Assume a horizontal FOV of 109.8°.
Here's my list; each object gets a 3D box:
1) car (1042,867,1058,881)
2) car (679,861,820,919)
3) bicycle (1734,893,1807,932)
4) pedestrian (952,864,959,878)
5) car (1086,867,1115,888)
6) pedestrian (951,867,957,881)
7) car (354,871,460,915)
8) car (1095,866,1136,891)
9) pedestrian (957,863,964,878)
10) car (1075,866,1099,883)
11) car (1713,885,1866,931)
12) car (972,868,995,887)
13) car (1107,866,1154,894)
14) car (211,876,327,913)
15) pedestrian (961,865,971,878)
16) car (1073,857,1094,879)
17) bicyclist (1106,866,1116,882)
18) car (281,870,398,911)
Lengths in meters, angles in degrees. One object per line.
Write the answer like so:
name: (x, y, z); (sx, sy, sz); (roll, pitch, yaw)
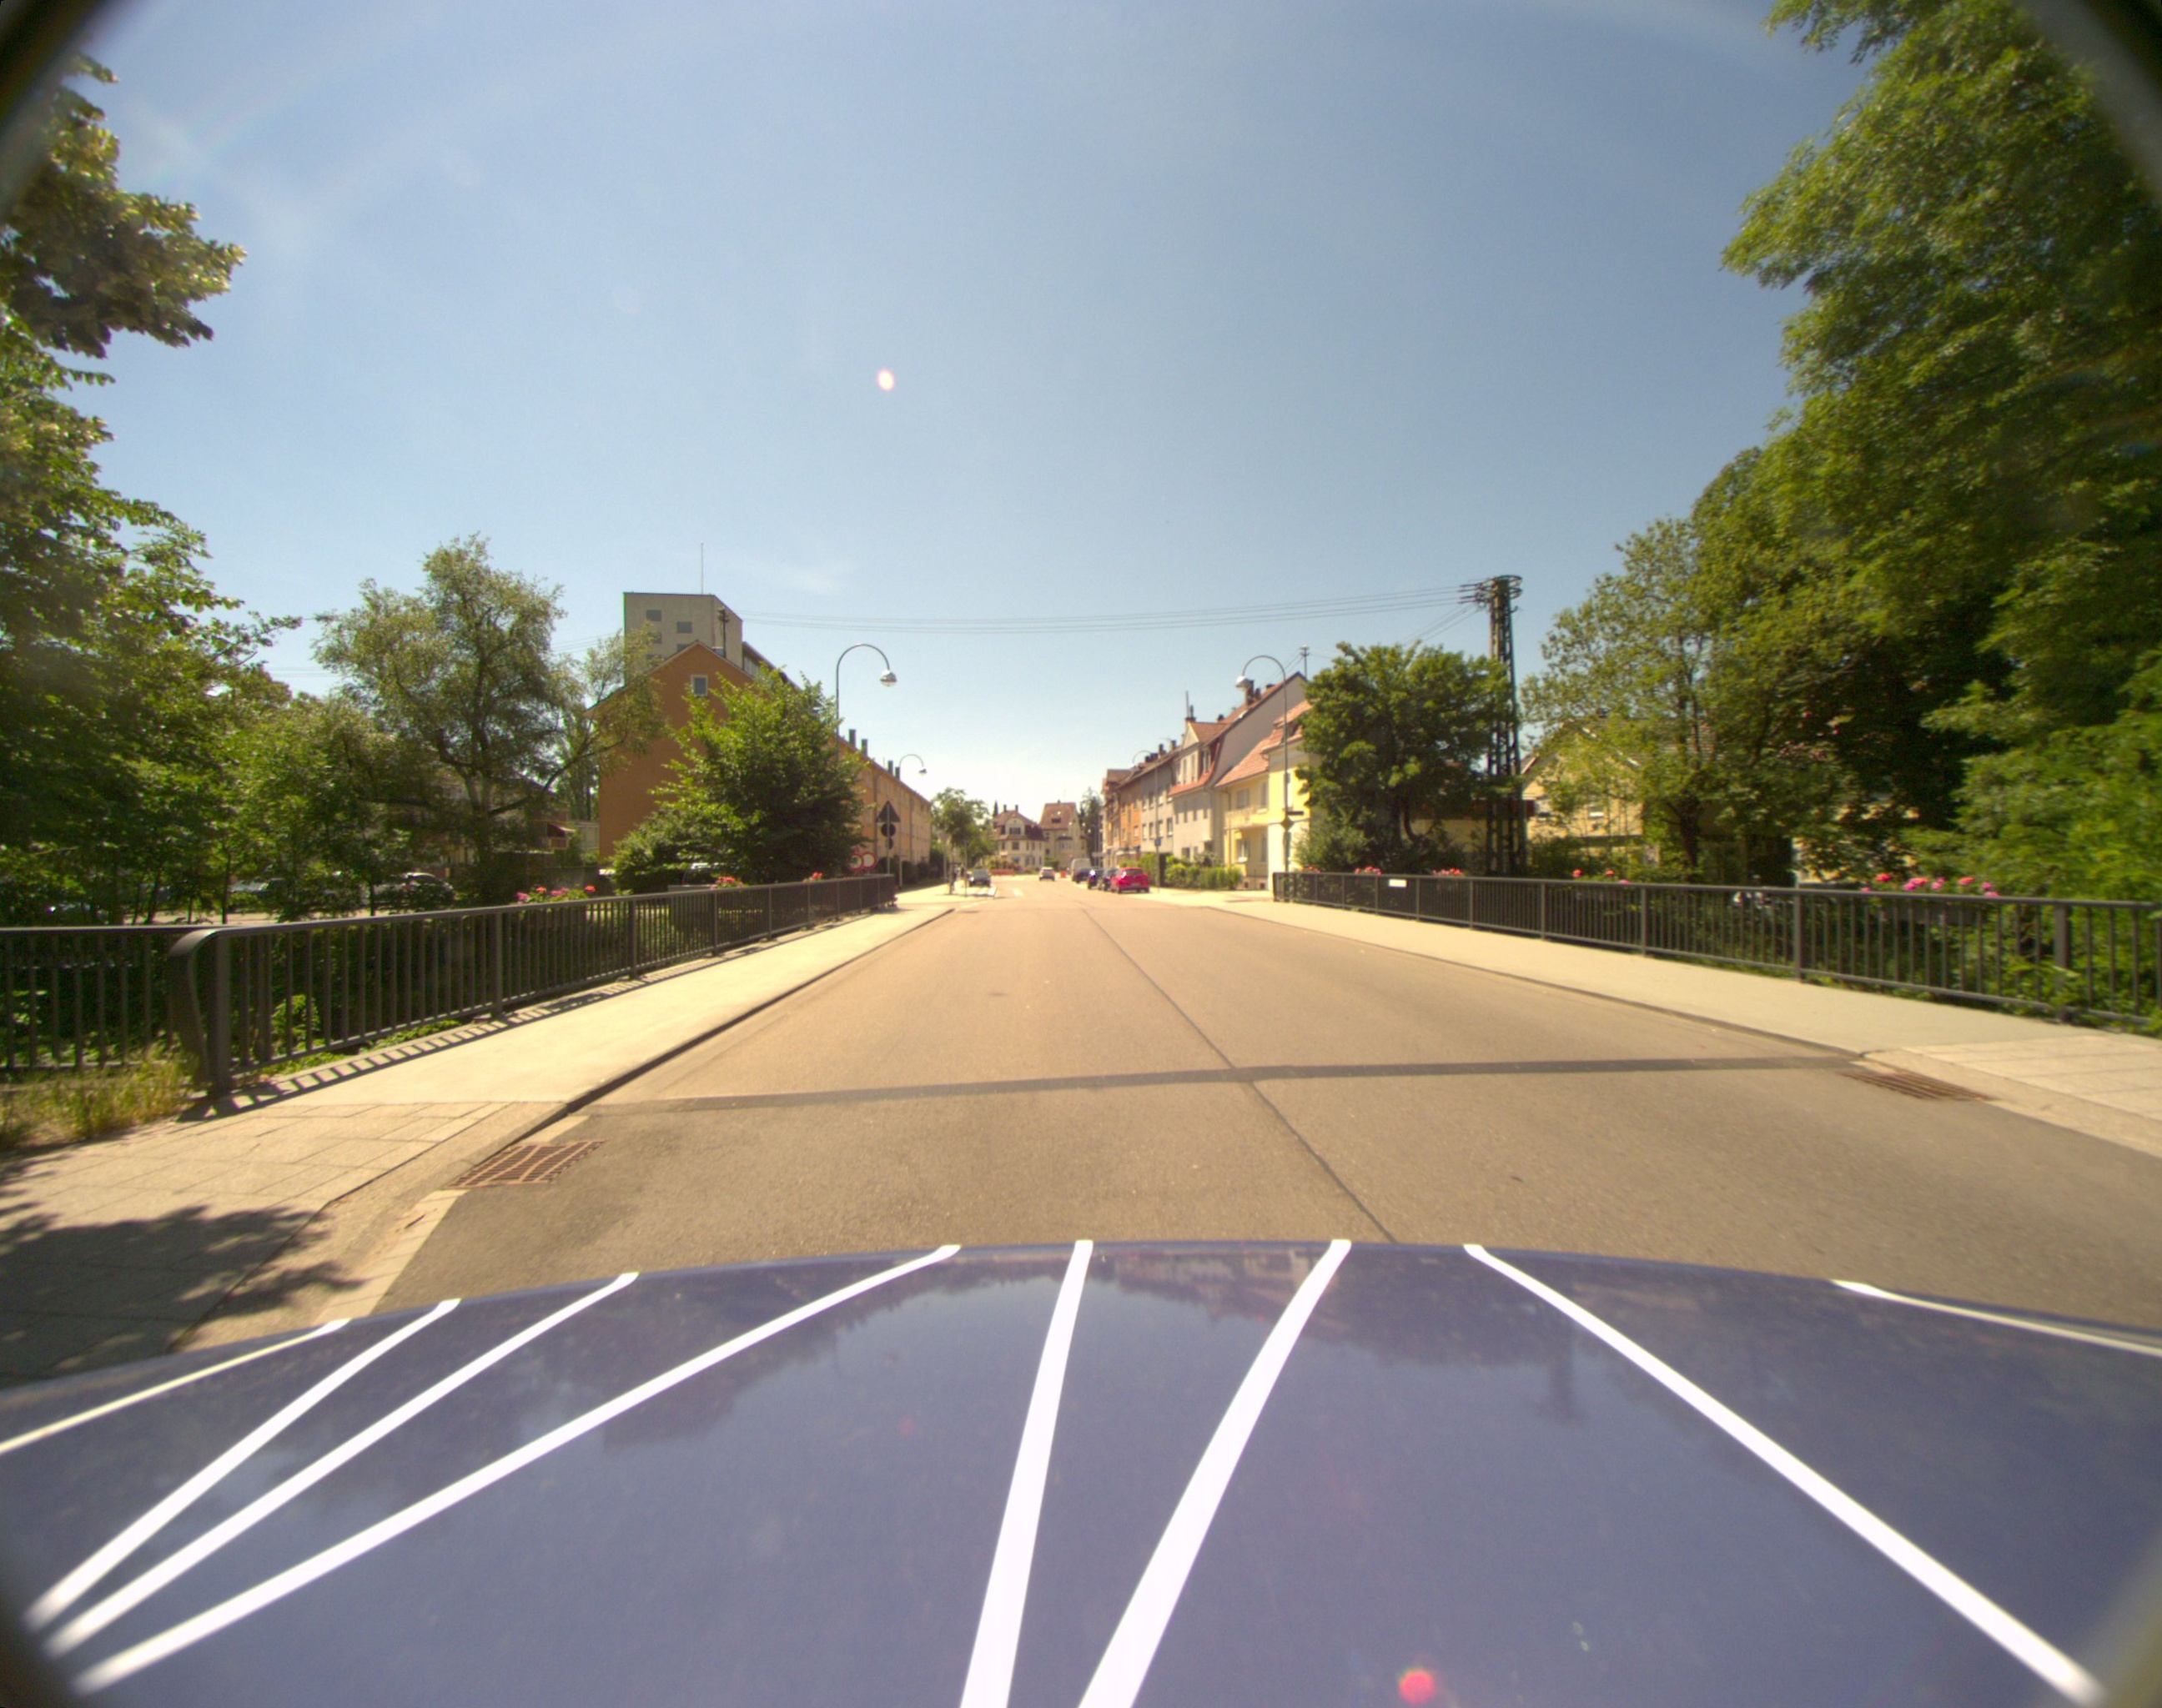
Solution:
car: (-3.772, 2.370, 91.642); (1.883, 1.587, 4.358); (1, -1, -4)
car: (-11.775, 1.251, 27.285); (4.353, 1.828, 1.748); (-2, 0, -14)
bicycle: (24.048, 2.039, 26.525); (1.887, 1.234, 0.560); (2, 0, 8)
pedestrian: (-16.154, 2.156, 97.624); (0.790, 1.800, 1.005); (2, -1, -9)
car: (1.384, 1.710, 55.990); (1.792, 1.450, 4.198); (-3, -1, -2)
pedestrian: (-16.310, 2.606, 97.639); (0.796, 1.768, 1.008); (0, 0, -9)
car: (-29.936, 1.668, 33.933); (2.001, 1.772, 3.995); (0, -1, -16)
car: (2.179, 1.603, 50.012); (1.869, 1.453, 5.305); (-2, -1, -6)
pedestrian: (-14.962, 2.082, 94.465); (0.823, 1.842, 0.984); (0, -1, -9)
car: (0.689, 2.029, 76.774); (2.090, 1.605, 5.111); (-2, -1, 4)
car: (26.052, 1.967, 28.010); (4.000, 1.468, 1.998); (1, 1, -7)
car: (-8.363, 1.999, 65.422); (1.839, 1.495, 5.061); (2, -1, -6)
car: (2.805, 1.462, 44.211); (1.883, 1.471, 4.736); (-3, -1, -6)
car: (-34.647, 1.694, 32.559); (1.621, 1.412, 3.915); (0, -1, -16)
pedestrian: (-14.833, 2.246, 97.594); (1.175, 1.722, 1.190); (2, 0, -10)
car: (0.231, 1.623, 87.920); (2.125, 2.435, 6.116); (-2, -1, -2)
bicyclist: (2.980, 1.987, 75.322); (0.784, 1.649, 0.835); (0, 0, -7)
car: (-32.138, 1.519, 33.119); (2.001, 1.619, 3.995); (0, -1, -16)
